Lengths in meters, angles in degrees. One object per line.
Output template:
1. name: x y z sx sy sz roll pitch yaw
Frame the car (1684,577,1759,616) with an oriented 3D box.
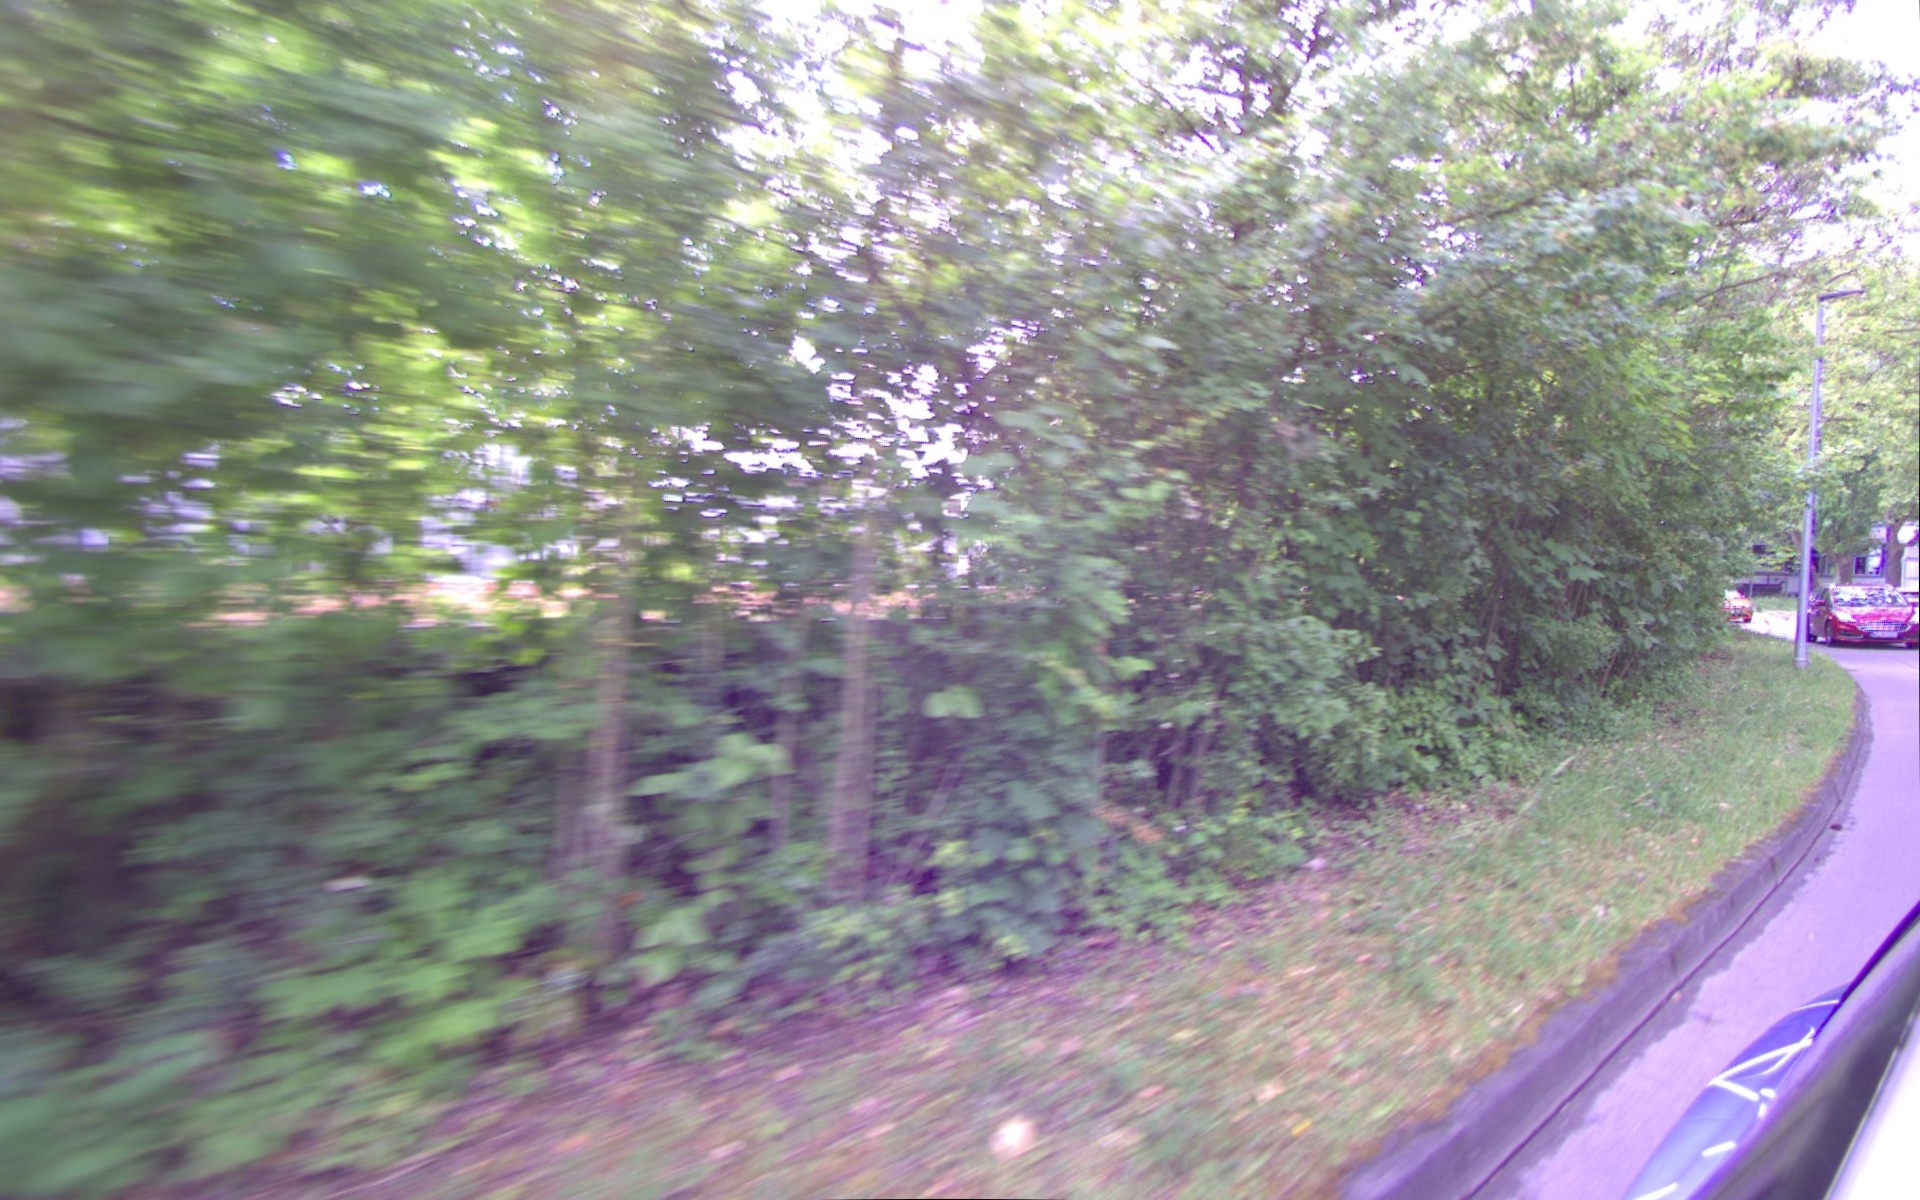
1. car: 32.128 -0.175 42.826 1.931 1.550 4.046 0 1 28

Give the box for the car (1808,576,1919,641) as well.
1. car: 24.115 0.159 26.791 1.931 1.578 4.308 0 2 32

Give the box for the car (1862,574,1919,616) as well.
1. car: 36.088 -0.202 38.237 1.834 1.510 3.967 1 2 24
